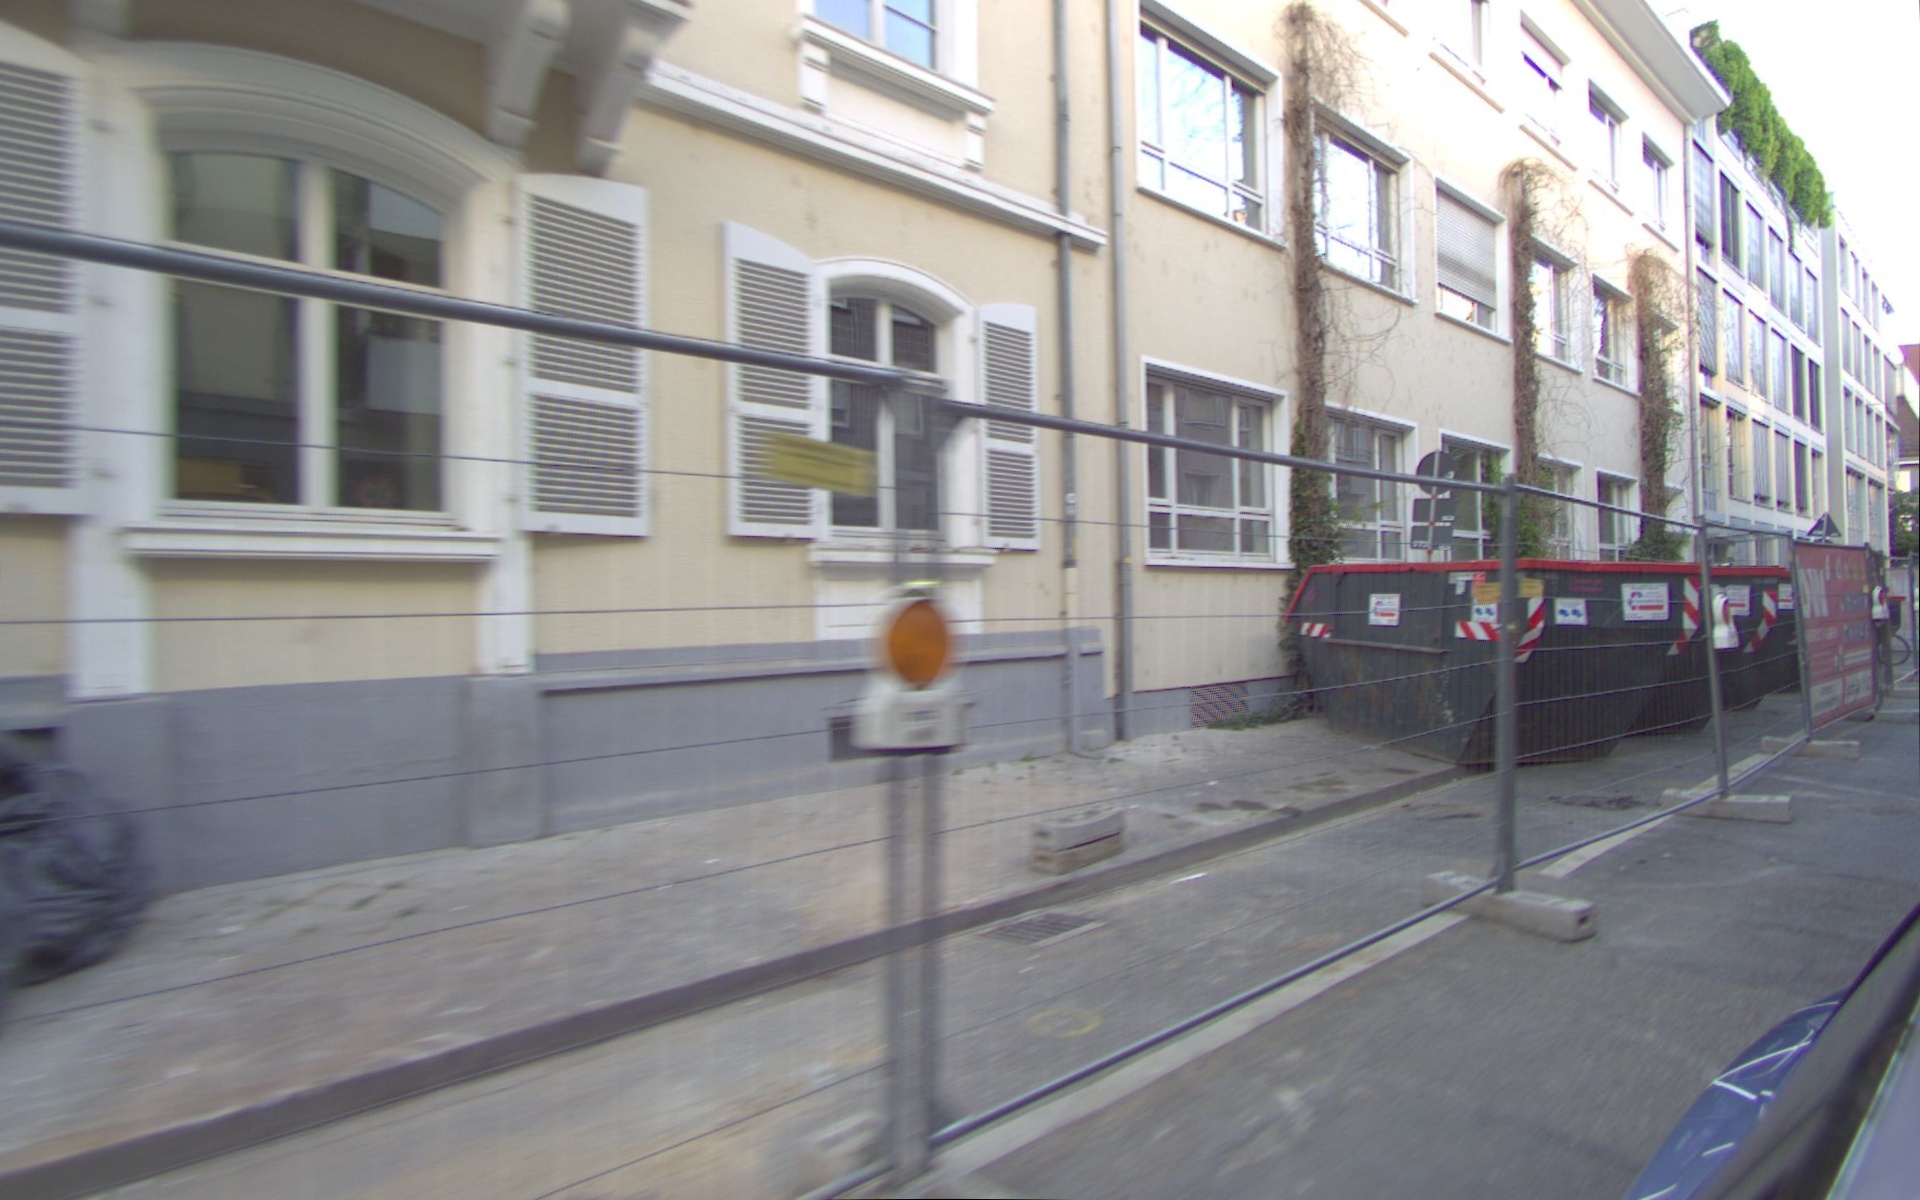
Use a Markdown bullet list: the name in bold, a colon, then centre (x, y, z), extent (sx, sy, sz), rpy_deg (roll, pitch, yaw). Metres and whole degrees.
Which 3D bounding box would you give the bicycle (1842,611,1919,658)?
- **bicycle**: centre (19.067, 0.687, 20.723), extent (0.451, 0.920, 1.805), rpy_deg (-1, -1, 3)

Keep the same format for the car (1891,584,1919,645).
- **car**: centre (25.384, 0.296, 25.889), extent (4.369, 1.491, 1.789), rpy_deg (-1, -3, -41)

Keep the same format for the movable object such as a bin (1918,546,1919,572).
- **movable object such as a bin**: centre (34.173, -0.504, 34.120), extent (5.649, 2.658, 2.018), rpy_deg (0, -3, -41)
